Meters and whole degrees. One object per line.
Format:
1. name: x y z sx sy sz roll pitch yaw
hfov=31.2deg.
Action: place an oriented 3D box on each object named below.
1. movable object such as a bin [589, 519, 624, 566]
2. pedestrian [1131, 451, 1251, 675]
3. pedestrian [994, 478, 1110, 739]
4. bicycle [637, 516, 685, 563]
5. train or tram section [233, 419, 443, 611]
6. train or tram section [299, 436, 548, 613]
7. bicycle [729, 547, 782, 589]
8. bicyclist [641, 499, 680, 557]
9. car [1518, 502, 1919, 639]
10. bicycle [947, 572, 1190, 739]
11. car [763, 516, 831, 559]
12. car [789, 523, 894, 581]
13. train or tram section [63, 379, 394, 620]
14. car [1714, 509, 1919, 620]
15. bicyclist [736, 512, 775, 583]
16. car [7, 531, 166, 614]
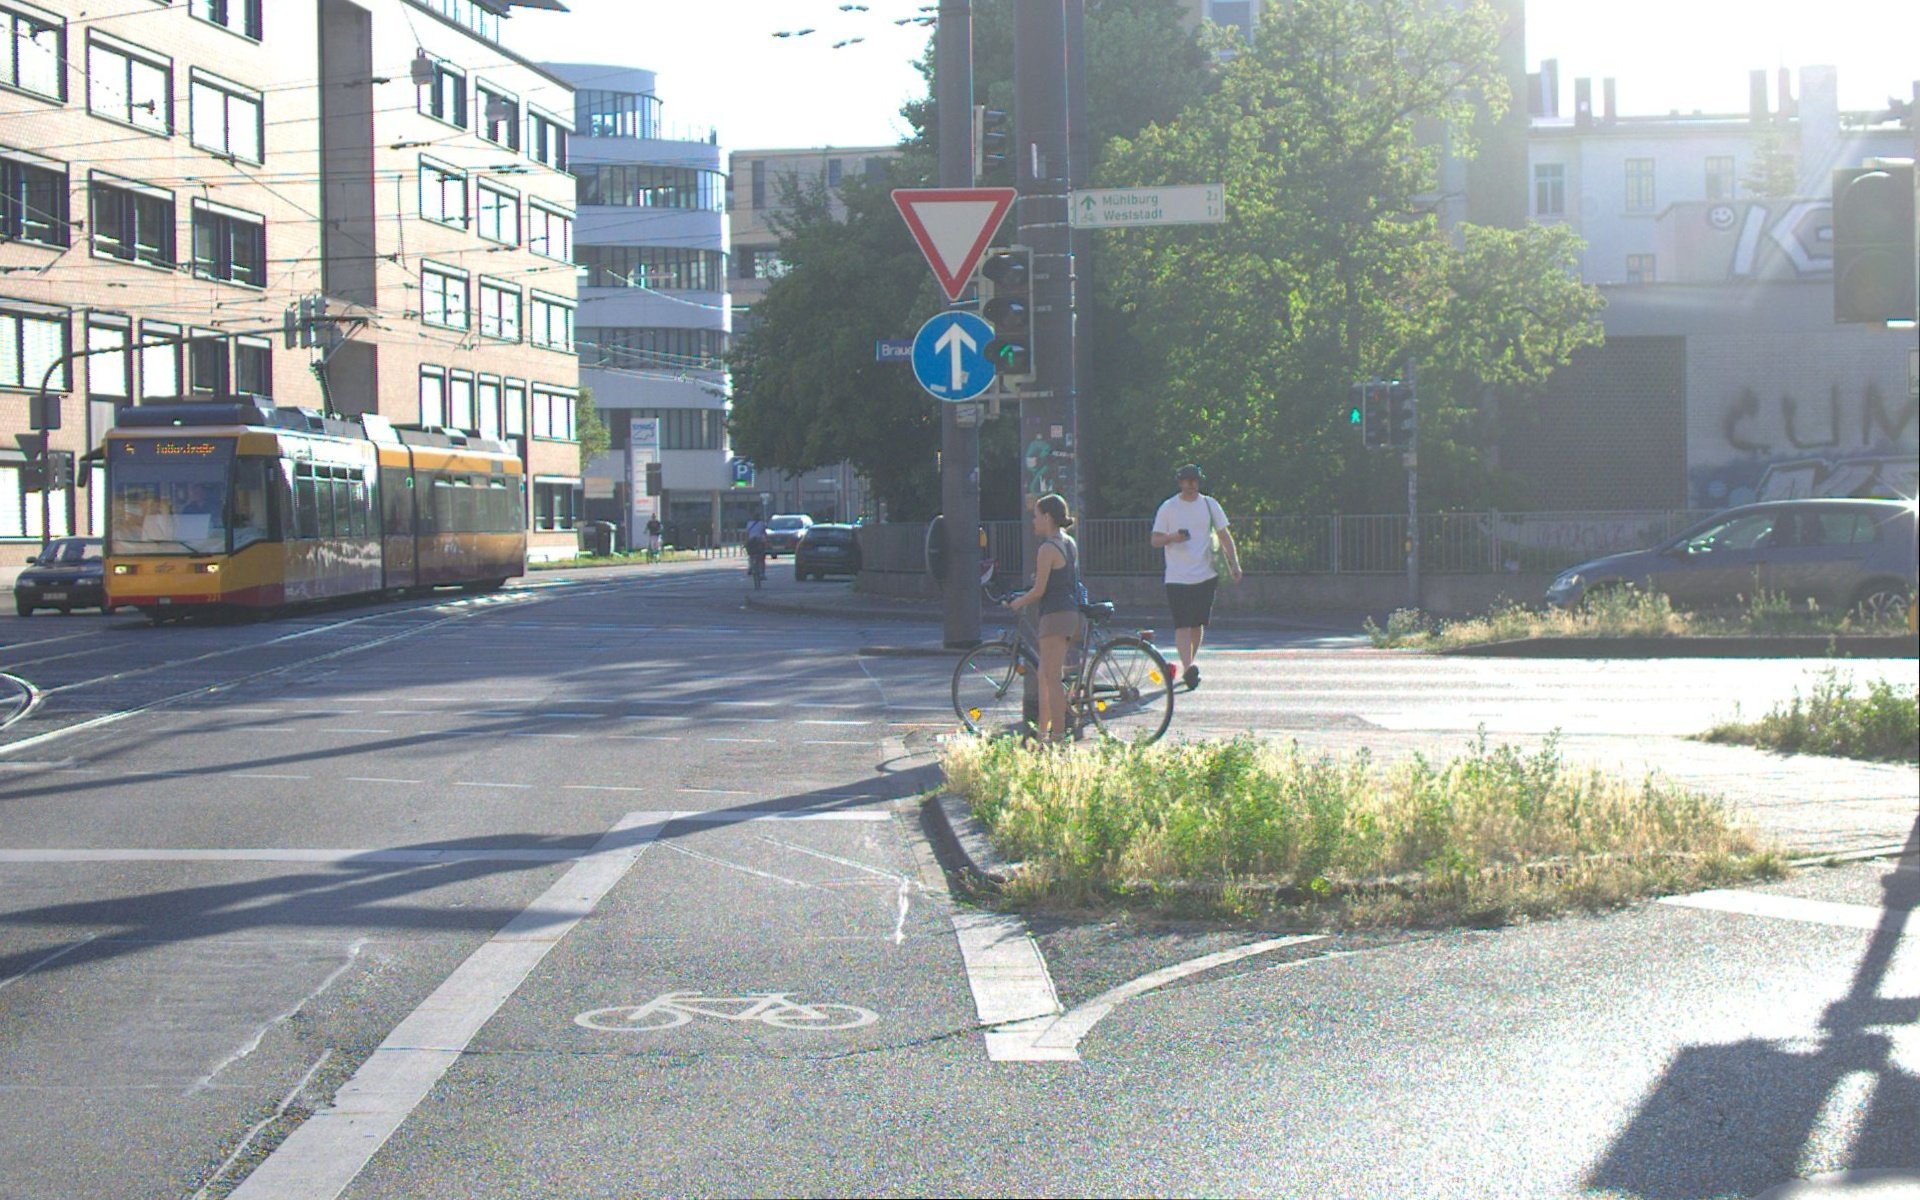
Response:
1. movable object such as a bin: -12.510 -2.037 121.705 1.066 1.623 0.889 -1 1 7
2. pedestrian: 1.885 -0.300 27.955 0.909 1.783 0.827 -1 1 7
3. pedestrian: 0.583 0.046 21.796 0.525 1.626 0.488 0 1 41
4. bicycle: -10.614 -2.150 122.235 1.030 1.645 2.559 -1 1 10
5. train or tram section: -11.845 -1.607 65.892 2.860 3.496 5.303 -1 1 2
6. train or tram section: -11.371 -1.605 74.099 2.861 3.496 11.296 -1 1 4
7. bicycle: -4.429 -0.706 74.429 0.695 0.874 2.026 -1 1 10
8. bicyclist: -10.642 -2.553 122.135 1.030 2.007 1.246 1 0 10
9. car: 7.809 -0.293 33.940 4.240 1.292 1.722 0 1 24
10. bicycle: 0.678 0.339 21.929 1.670 1.025 0.398 0 1 41
11. car: -6.255 -2.412 132.371 1.816 1.609 4.464 -1 1 8
12. car: -2.927 -1.207 85.743 1.785 1.383 3.998 0 1 10
13. train or tram section: -11.768 -1.595 56.808 2.860 3.496 13.016 -1 1 -1
14. car: 11.126 -0.440 41.161 3.885 1.292 1.723 0 1 20
15. bicyclist: -4.428 -1.136 74.472 0.674 1.517 0.813 -1 1 10
16. car: -15.203 -0.502 59.999 1.808 1.375 4.163 -1 1 -2
